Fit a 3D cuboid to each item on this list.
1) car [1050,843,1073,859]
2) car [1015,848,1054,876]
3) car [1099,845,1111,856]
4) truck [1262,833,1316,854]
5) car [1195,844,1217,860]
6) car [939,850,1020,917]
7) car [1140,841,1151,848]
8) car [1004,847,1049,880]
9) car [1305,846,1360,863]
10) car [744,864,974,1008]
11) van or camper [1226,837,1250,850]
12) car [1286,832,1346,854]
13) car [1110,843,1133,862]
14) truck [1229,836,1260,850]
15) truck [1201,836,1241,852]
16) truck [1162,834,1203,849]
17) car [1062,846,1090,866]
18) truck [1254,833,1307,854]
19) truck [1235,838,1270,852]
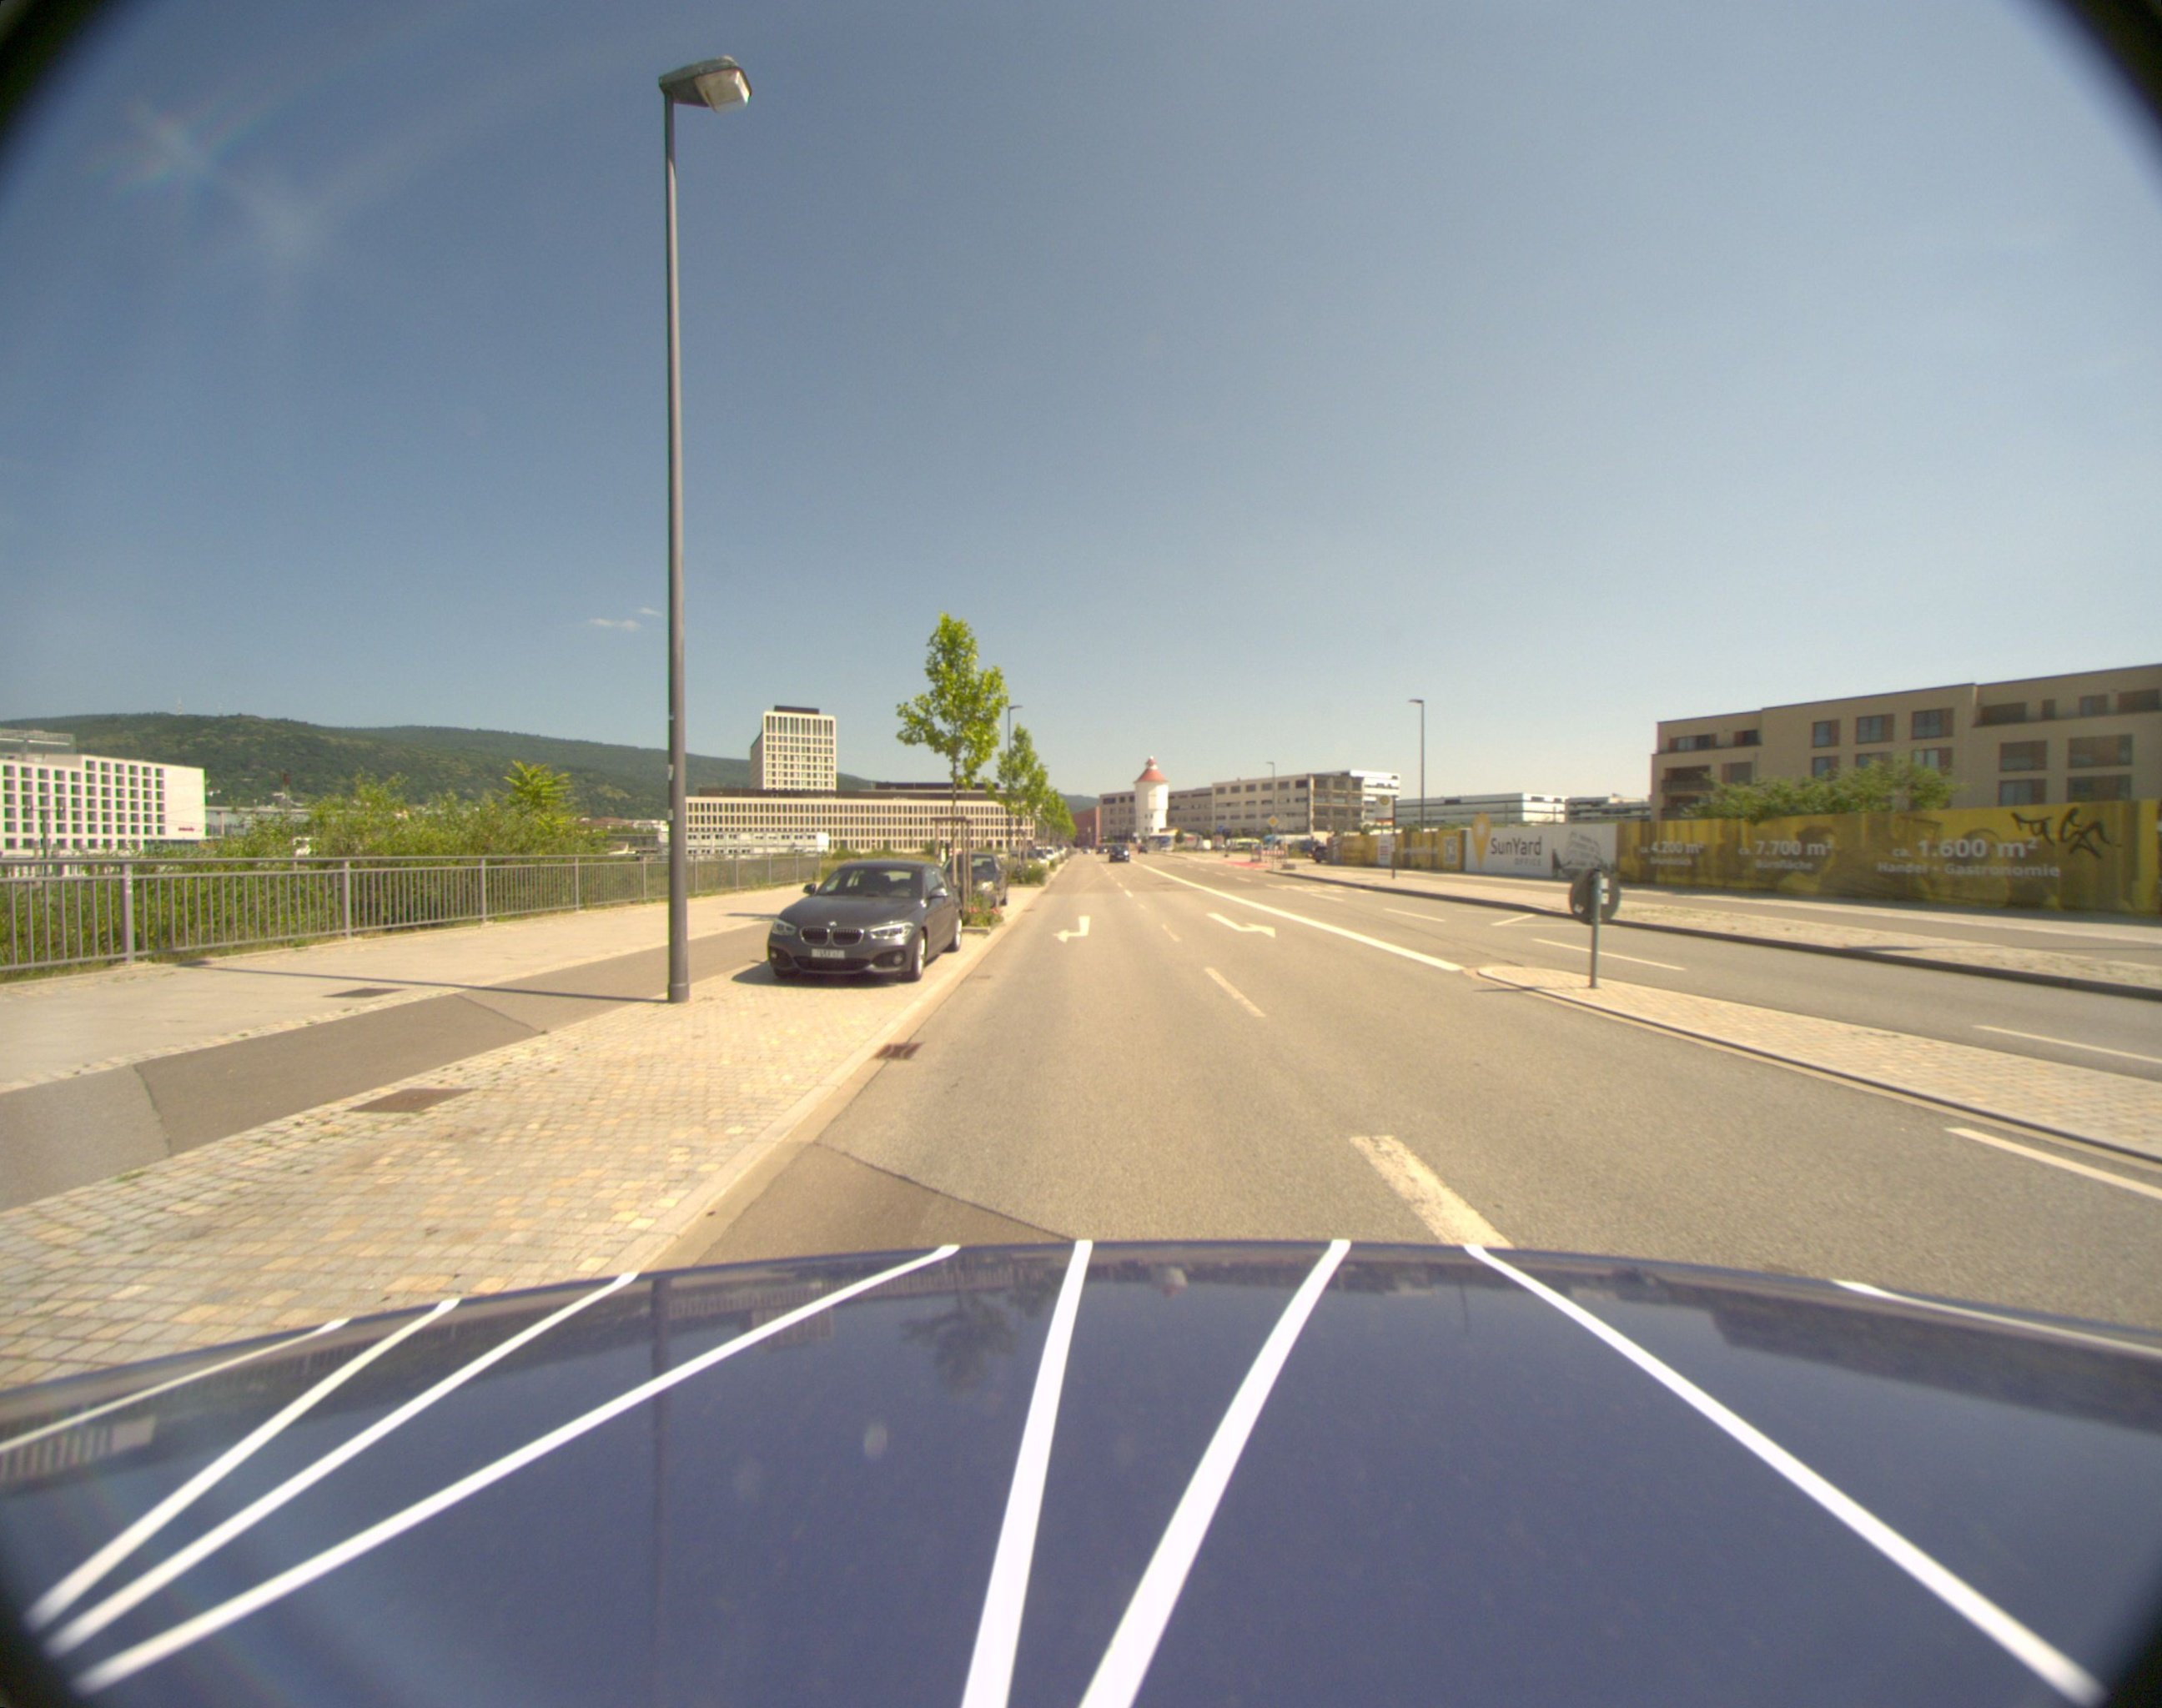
[{"bbox_3d":[-1.961,-0.342,77.681,1.913,1.568,4.158,0,1,3],"label":"car"},{"bbox_3d":[-2.579,0.401,42.660,1.708,1.454,4.085,-1,1,3],"label":"car"},{"bbox_3d":[3.795,-0.550,118.341,1.783,1.552,3.832,-1,1,2],"label":"car"},{"bbox_3d":[24.118,-1.221,88.104,5.581,2.349,2.274,0,1,-1],"label":"truck"},{"bbox_3d":[12.331,-0.225,74.998,1.611,1.469,3.677,2,2,2],"label":"car"},{"bbox_3d":[-2.593,0.698,20.214,1.708,1.454,3.952,1,2,-1],"label":"car"},{"bbox_3d":[12.409,-1.790,146.068,1.708,1.344,4.455,0,1,0],"label":"car"},{"bbox_3d":[-2.557,0.420,36.316,1.708,1.454,3.954,-1,1,2],"label":"car"},{"bbox_3d":[20.192,0.036,60.961,4.255,1.310,1.994,0,1,-35],"label":"car"},{"bbox_3d":[-2.691,0.908,10.307,1.708,1.393,4.270,2,1,2],"label":"car"},{"bbox_3d":[35.518,-2.388,171.540,4.912,2.646,2.259,-1,1,0],"label":"van or camper"},{"bbox_3d":[24.355,-1.159,78.858,5.458,2.161,2.394,0,1,-3],"label":"car"},{"bbox_3d":[3.443,-0.165,65.878,1.783,1.553,3.831,0,1,0],"label":"car"},{"bbox_3d":[35.968,-2.484,167.434,6.160,2.885,2.569,-2,2,1],"label":"truck"},{"bbox_3d":[40.596,-3.013,220.623,10.951,4.252,3.340,-2,2,-11],"label":"truck"},{"bbox_3d":[29.134,-3.654,217.874,10.988,4.045,3.296,-2,2,-17],"label":"truck"},{"bbox_3d":[-0.373,0.097,59.482,1.913,1.471,4.158,0,1,3],"label":"car"},{"bbox_3d":[25.011,-1.326,95.362,6.019,2.529,2.275,0,1,1],"label":"truck"},{"bbox_3d":[35.964,-1.974,159.808,6.656,2.809,2.601,-1,1,-6],"label":"truck"}]
